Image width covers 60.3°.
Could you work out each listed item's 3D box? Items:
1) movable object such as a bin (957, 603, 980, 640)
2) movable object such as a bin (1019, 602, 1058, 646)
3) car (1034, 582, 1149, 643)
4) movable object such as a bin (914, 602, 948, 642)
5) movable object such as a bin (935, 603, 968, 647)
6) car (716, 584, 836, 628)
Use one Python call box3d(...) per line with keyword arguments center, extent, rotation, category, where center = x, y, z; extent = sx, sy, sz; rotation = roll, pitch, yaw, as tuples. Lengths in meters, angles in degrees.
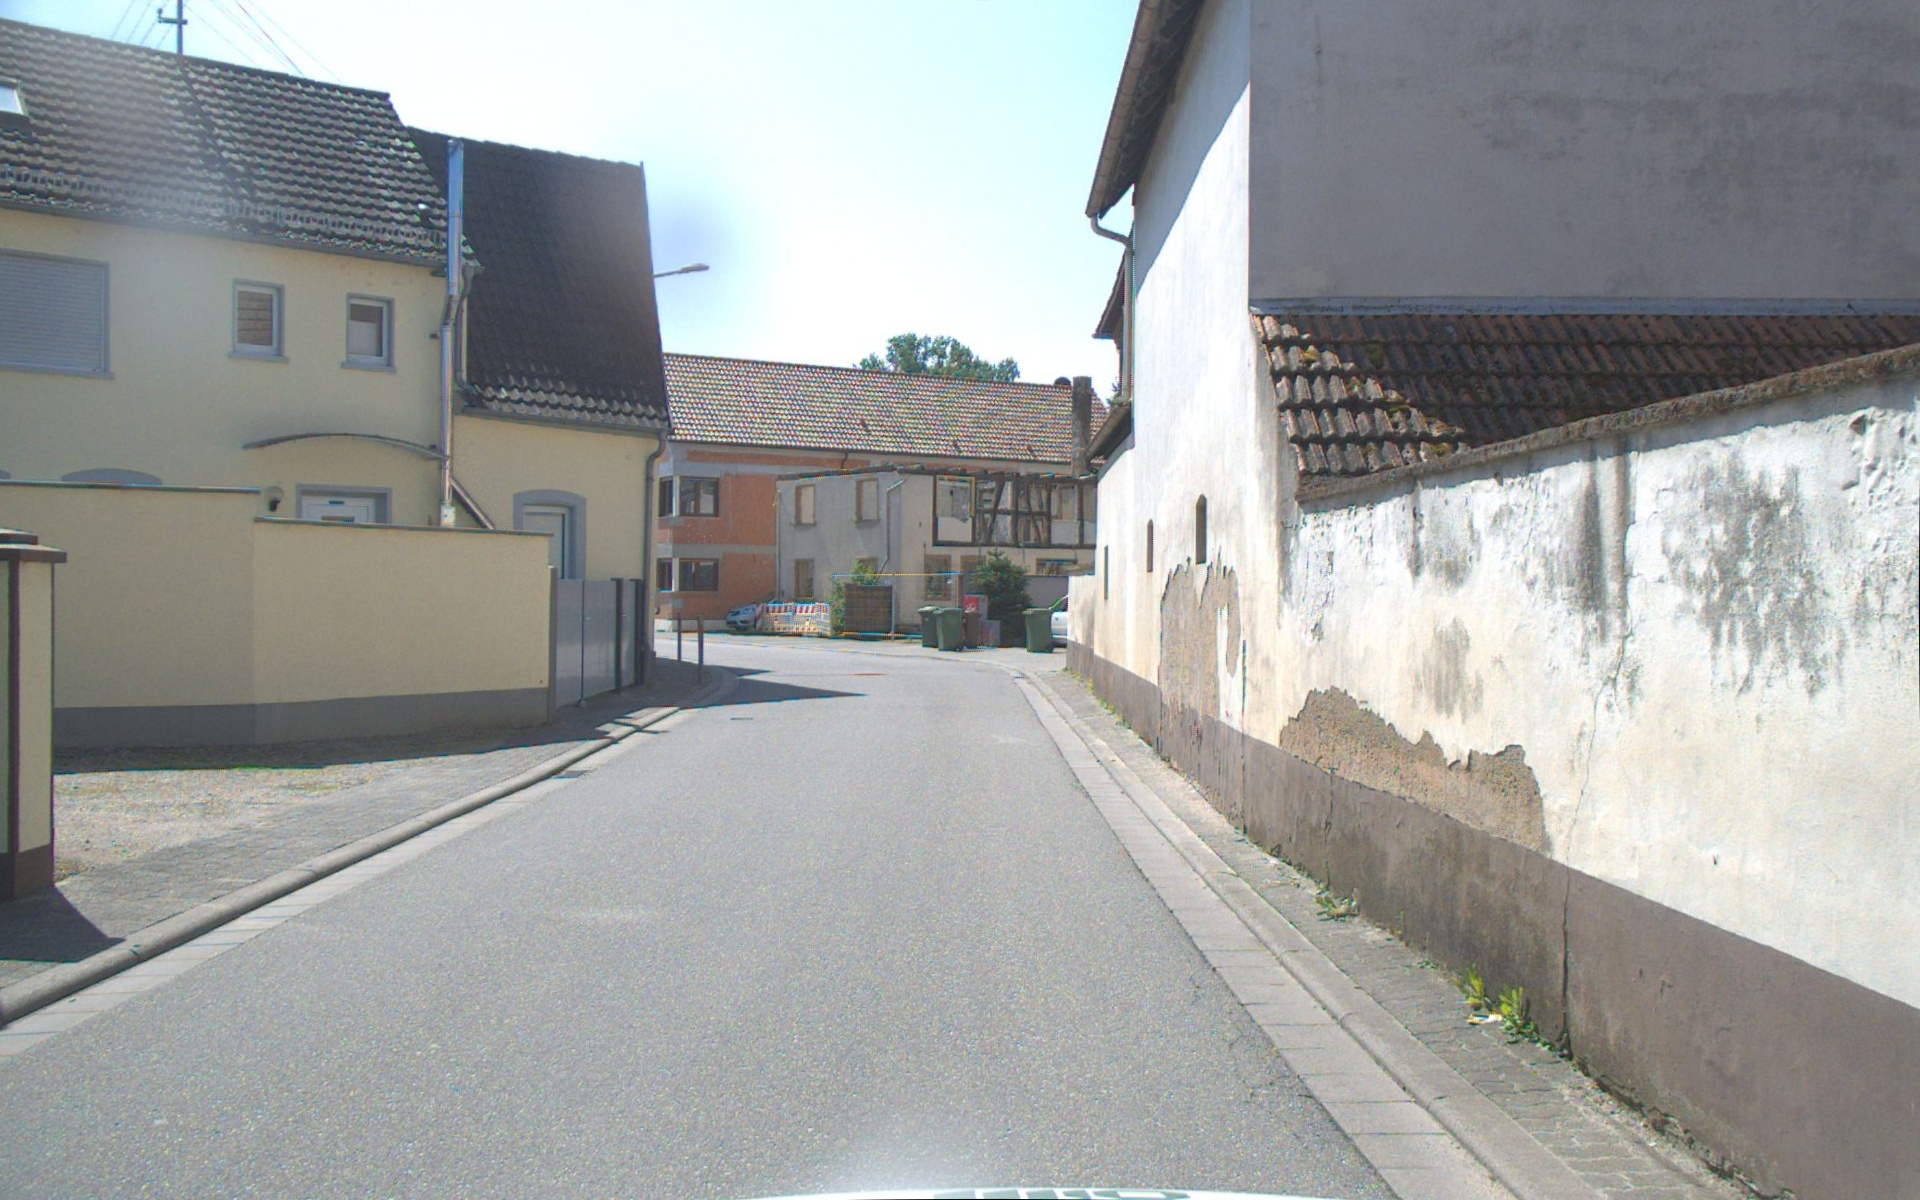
box3d(center=(0.222, 0.583, 44.427), extent=(0.459, 0.987, 0.492), rotation=(0, 0, -24), category="movable object such as a bin")
box3d(center=(1.987, 0.613, 42.023), extent=(0.711, 1.100, 0.749), rotation=(0, 0, -26), category="movable object such as a bin")
box3d(center=(3.502, 0.284, 44.859), extent=(1.781, 1.555, 4.279), rotation=(0, 1, -15), category="car")
box3d(center=(-0.780, 0.597, 45.316), extent=(0.657, 1.091, 0.761), rotation=(0, 0, 26), category="movable object such as a bin")
box3d(center=(-0.229, 0.640, 43.018), extent=(0.677, 1.111, 0.633), rotation=(0, 0, -23), category="movable object such as a bin")
box3d(center=(-6.786, 0.210, 61.182), extent=(4.057, 1.533, 1.846), rotation=(-1, 1, -37), category="car")
